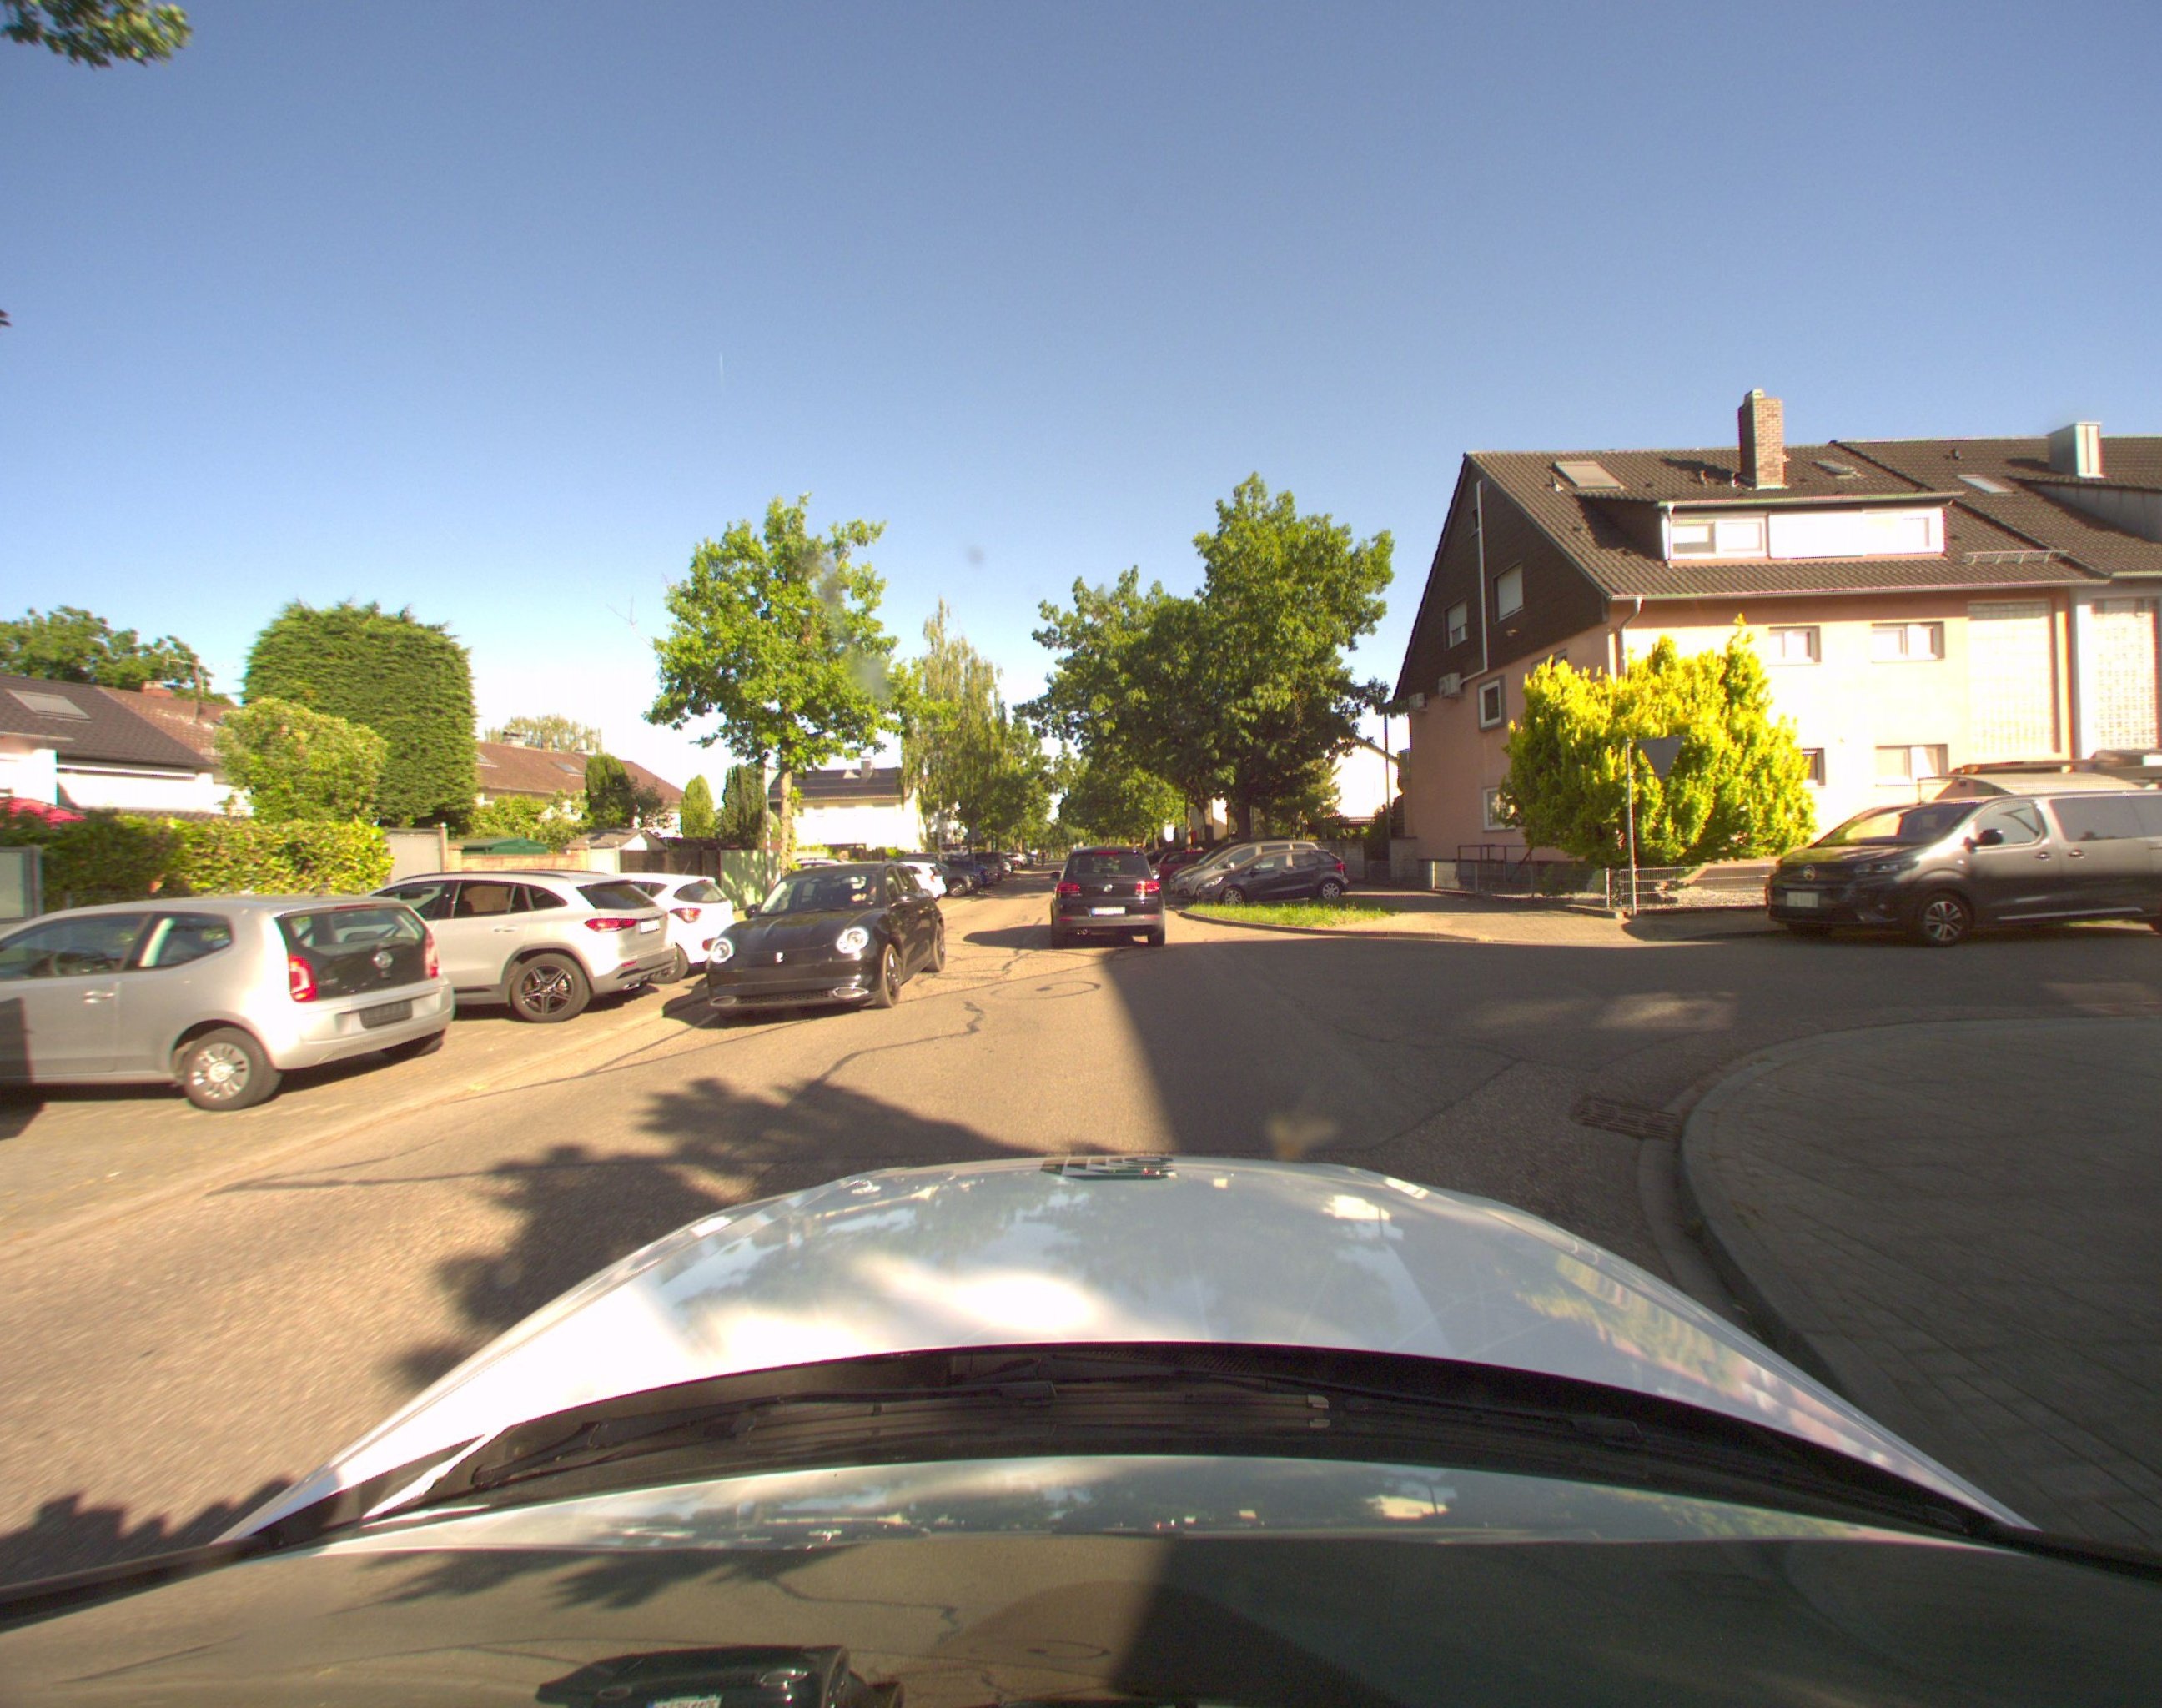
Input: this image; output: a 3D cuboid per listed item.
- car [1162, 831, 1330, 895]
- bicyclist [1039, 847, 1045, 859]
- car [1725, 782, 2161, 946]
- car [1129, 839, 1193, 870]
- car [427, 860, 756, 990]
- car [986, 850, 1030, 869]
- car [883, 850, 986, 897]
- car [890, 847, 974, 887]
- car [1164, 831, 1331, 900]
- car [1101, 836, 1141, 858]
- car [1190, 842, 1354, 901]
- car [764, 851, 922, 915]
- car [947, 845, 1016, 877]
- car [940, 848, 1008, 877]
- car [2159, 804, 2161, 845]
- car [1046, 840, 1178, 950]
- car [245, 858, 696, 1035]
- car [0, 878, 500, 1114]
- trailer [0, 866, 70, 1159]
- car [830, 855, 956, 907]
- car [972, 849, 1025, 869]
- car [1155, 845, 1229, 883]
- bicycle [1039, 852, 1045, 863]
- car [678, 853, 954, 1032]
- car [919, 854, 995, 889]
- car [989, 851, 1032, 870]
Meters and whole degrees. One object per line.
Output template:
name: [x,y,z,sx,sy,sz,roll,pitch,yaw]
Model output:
car: [5.495,0.288,27.583,5.243,1.945,2.000,-2,0,0]
bicyclist: [-4.247,-0.096,88.657,0.699,1.346,0.506,-2,-2,-4]
car: [12.104,0.102,10.995,5.227,1.847,2.070,-2,-1,-3]
car: [5.136,0.027,52.818,3.973,1.775,1.790,-2,0,0]
car: [-6.858,0.943,11.776,3.543,1.557,1.850,-2,0,-5]
car: [-6.889,0.512,76.635,3.984,1.684,1.918,-2,0,-8]
car: [-6.067,0.783,34.093,3.979,1.731,1.998,-2,0,-4]
car: [-7.545,0.655,41.541,3.979,1.836,1.635,-2,0,-4]
car: [4.928,0.340,24.542,4.618,1.809,1.823,-2,0,0]
car: [4.104,-0.720,84.442,3.973,2.014,2.000,-2,-2,0]
car: [5.077,0.453,22.045,3.974,1.368,1.846,-2,0,0]
car: [-6.904,0.815,23.985,3.972,1.670,2.001,-2,0,1]
car: [-6.494,0.458,53.652,4.382,1.939,1.576,-2,-1,-4]
car: [-6.657,0.540,51.179,3.975,1.720,1.820,-2,-1,-1]
car: [18.220,-0.014,11.174,4.297,1.663,1.878,-2,-2,0]
car: [0.380,0.598,14.590,1.925,1.654,4.508,0,0,-4]
car: [-6.576,0.920,9.182,3.544,1.613,1.849,-2,0,-6]
car: [-7.094,1.027,6.503,3.537,1.477,1.808,-2,0,0]
trailer: [-7.606,0.960,4.140,2.961,1.656,1.394,-2,0,-4]
car: [-6.698,0.938,29.325,3.972,1.640,2.001,-2,0,1]
car: [-6.732,0.421,66.706,3.973,1.498,2.000,-2,-2,0]
car: [4.930,0.434,36.395,3.040,1.507,1.244,-2,0,-6]
bicycle: [-4.245,0.416,88.640,0.636,1.163,1.739,-2,-2,-3]
car: [-2.816,0.831,9.697,1.904,1.555,3.999,-4,0,-1]
car: [-5.867,0.830,38.680,3.364,1.490,1.641,-2,0,-4]
car: [-6.884,0.649,79.036,3.984,1.684,1.995,-2,0,-8]
